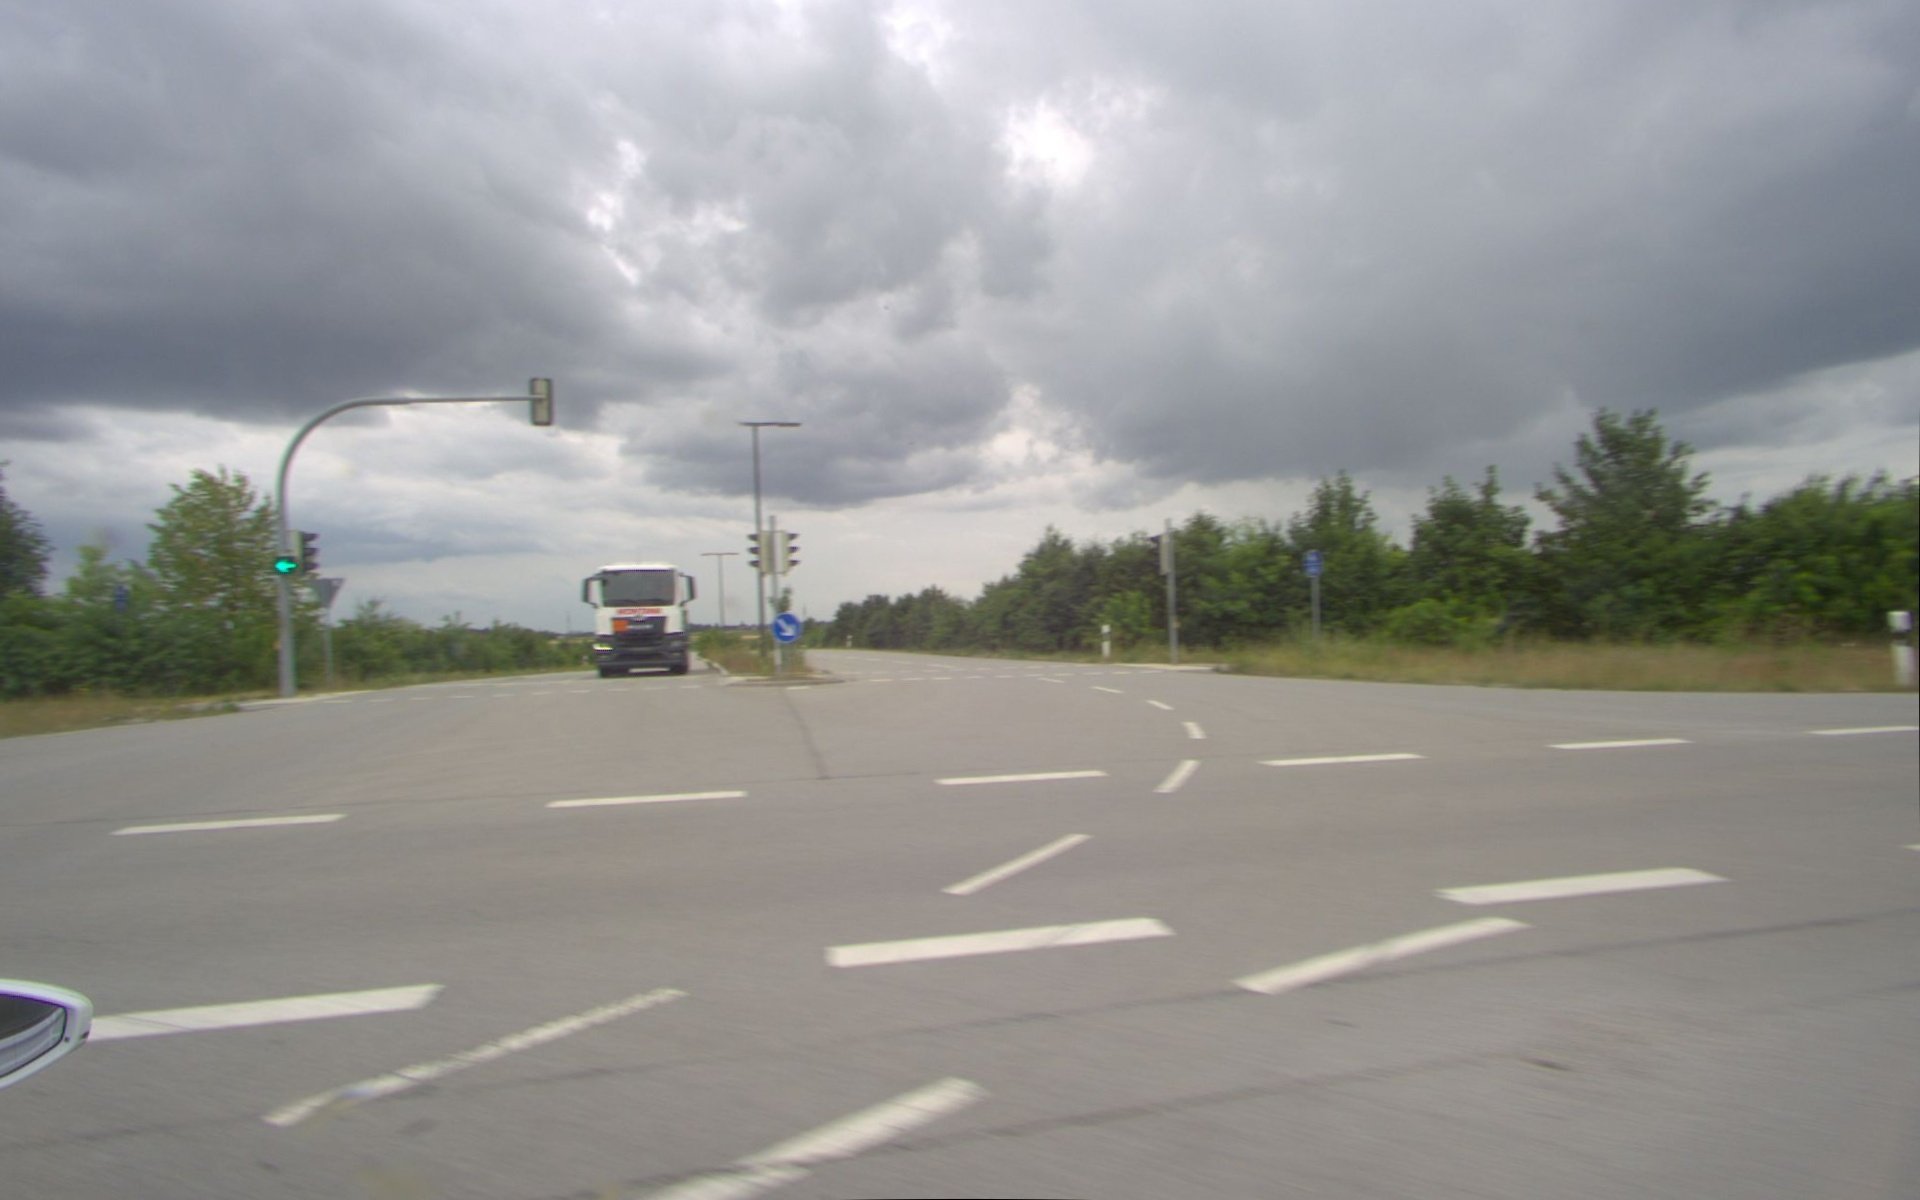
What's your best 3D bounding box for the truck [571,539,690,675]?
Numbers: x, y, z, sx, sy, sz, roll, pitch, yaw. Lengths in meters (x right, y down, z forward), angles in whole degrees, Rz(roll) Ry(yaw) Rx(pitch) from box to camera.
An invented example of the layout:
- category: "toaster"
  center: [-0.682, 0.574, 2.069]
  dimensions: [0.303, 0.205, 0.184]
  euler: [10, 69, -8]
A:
- category: "truck"
  center: [-9.735, 0.311, 30.371]
  dimensions: [2.827, 3.452, 8.640]
  euler: [-2, -1, -15]
